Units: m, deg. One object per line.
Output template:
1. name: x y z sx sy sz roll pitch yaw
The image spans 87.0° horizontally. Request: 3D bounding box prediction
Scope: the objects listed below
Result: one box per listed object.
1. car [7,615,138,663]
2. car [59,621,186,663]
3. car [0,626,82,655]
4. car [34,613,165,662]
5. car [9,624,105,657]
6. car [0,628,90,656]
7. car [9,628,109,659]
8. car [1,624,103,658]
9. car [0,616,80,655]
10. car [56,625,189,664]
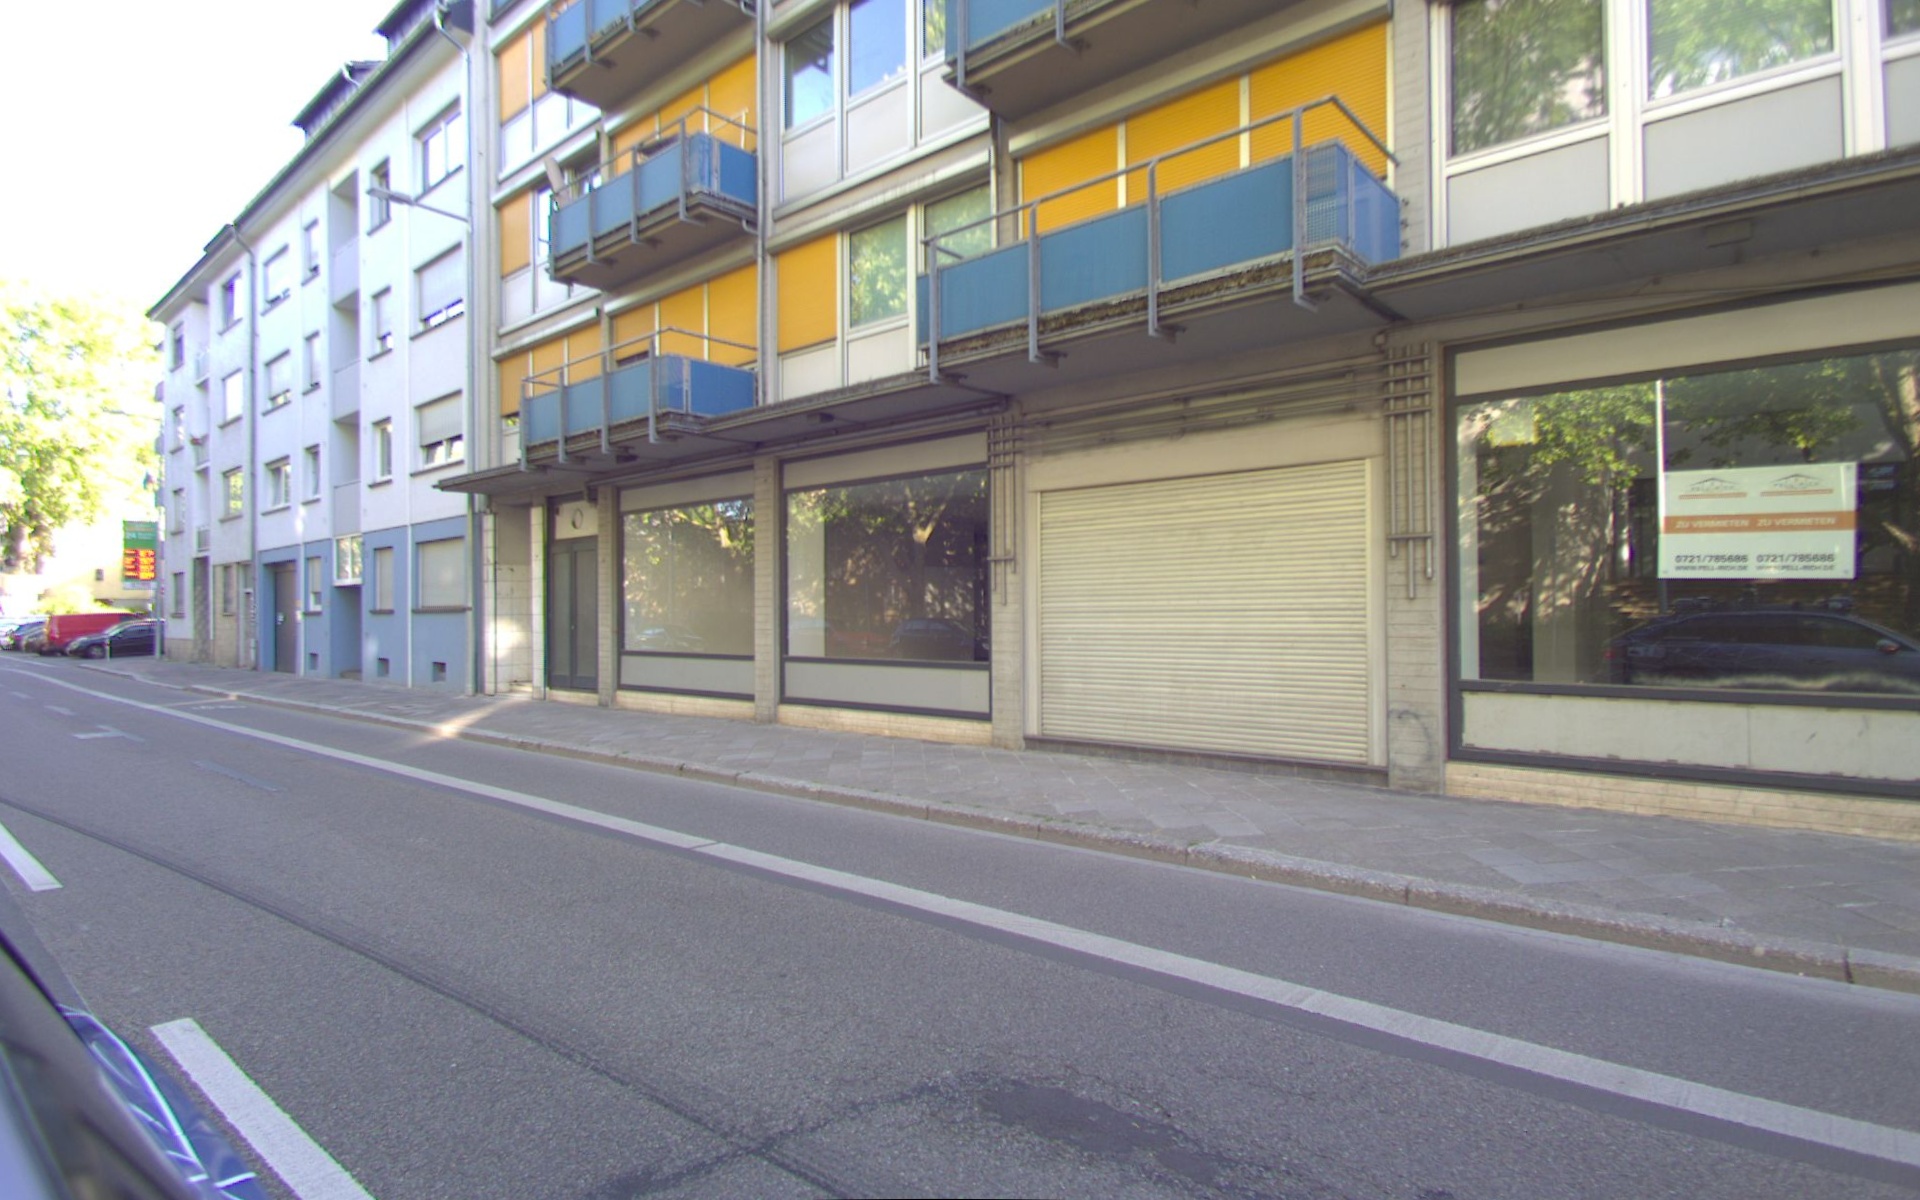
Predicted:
1. car: -42.732 1.823 48.791 2.056 1.966 4.475 -2 1 41
2. car: -37.847 1.864 45.793 1.886 1.575 4.129 -2 1 41
3. car: -55.737 2.420 61.092 1.852 1.571 3.945 -2 0 41
4. car: -40.275 1.724 47.422 2.145 1.966 4.375 -2 1 41
5. car: -48.403 2.131 54.296 1.830 1.524 3.647 -2 1 41
6. car: -54.091 2.468 59.744 1.852 1.444 3.945 -2 0 41
7. car: -49.804 2.382 55.980 1.915 1.466 3.945 -2 0 41
8. car: -52.137 2.316 58.138 2.027 1.696 4.150 -2 0 41
9. car: -59.125 2.234 64.156 2.139 2.233 4.794 -2 1 41
10. car: -36.347 1.910 43.982 2.045 1.390 4.184 -1 1 41
